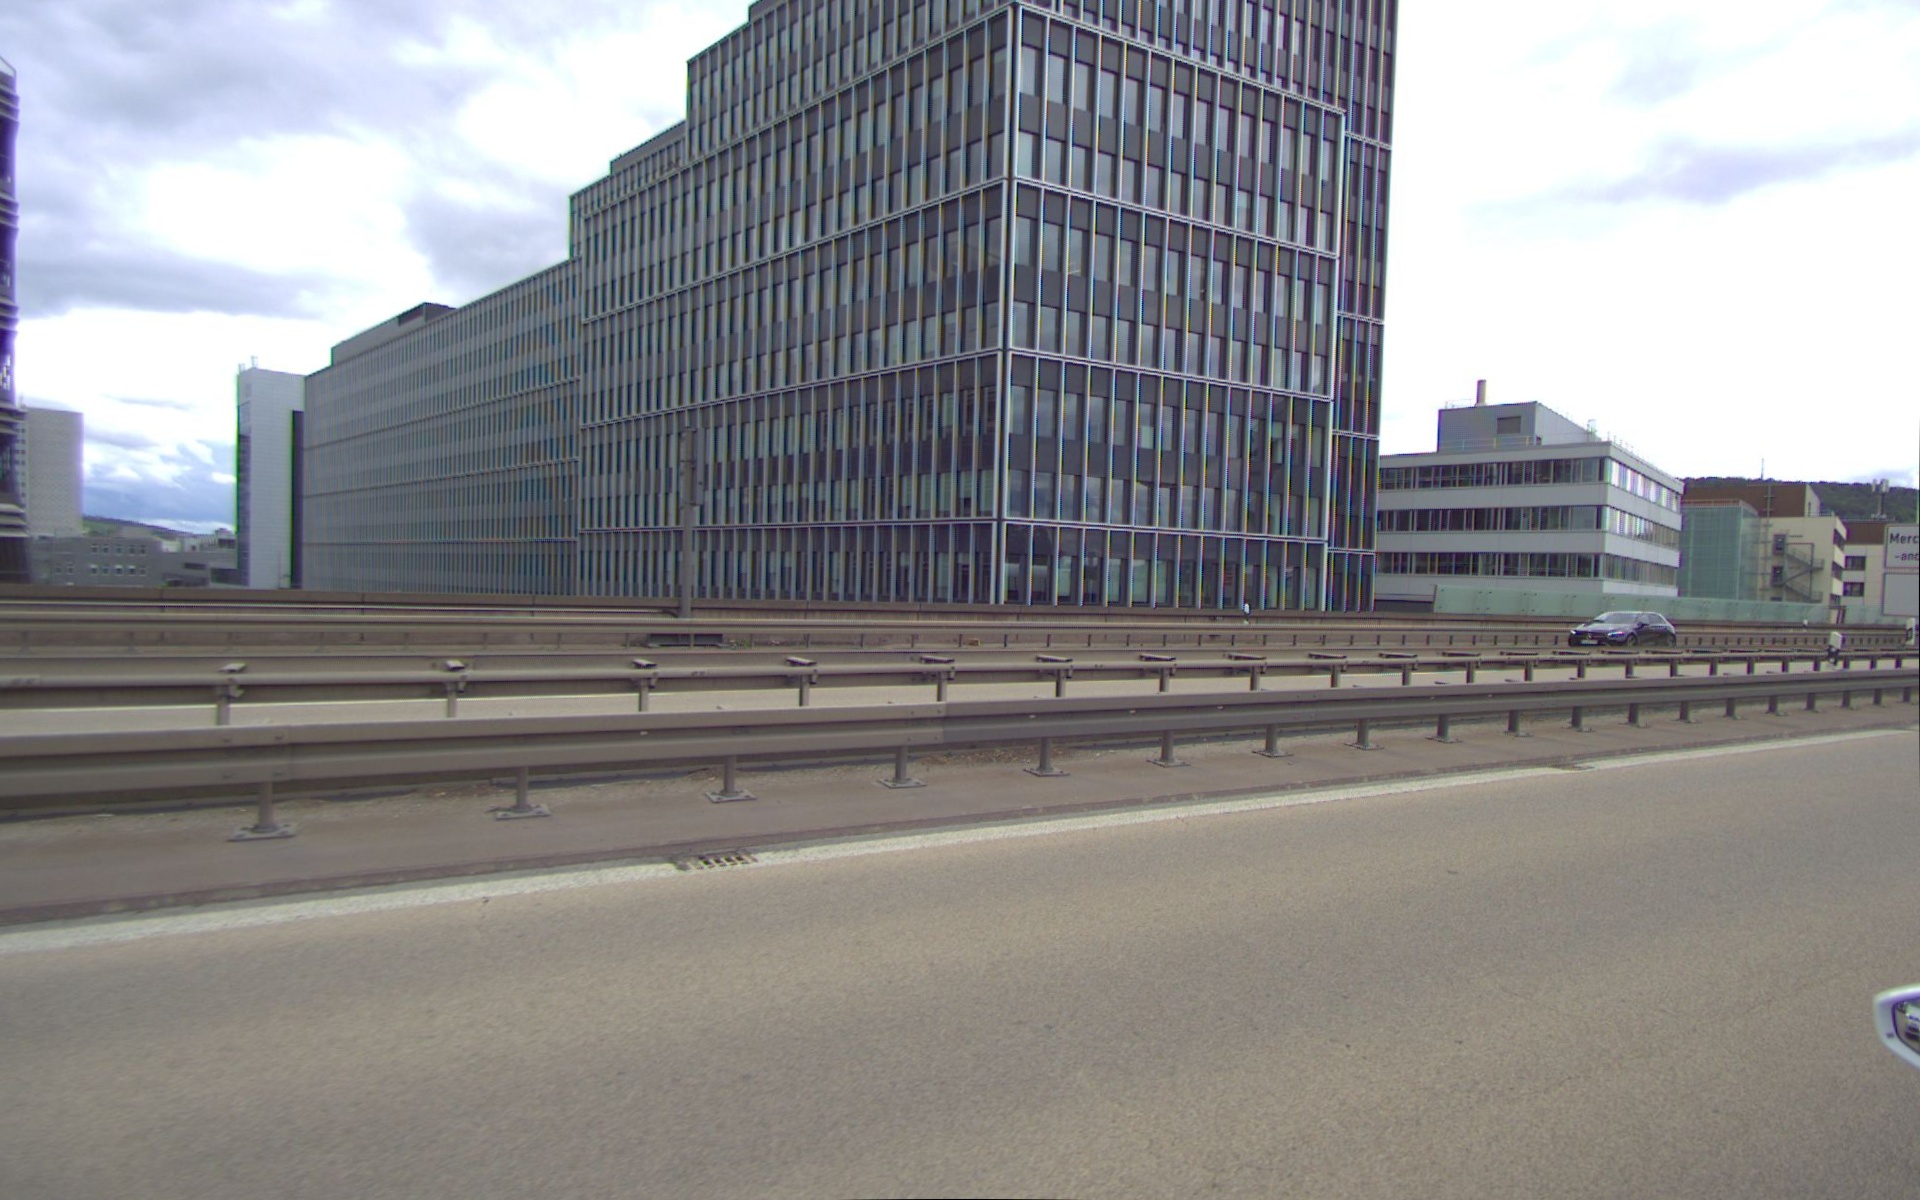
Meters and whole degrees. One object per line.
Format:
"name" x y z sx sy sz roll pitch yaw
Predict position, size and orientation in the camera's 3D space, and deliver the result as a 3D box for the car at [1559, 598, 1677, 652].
"car" 22.193 0.849 33.827 4.312 1.672 1.673 2 1 -33
